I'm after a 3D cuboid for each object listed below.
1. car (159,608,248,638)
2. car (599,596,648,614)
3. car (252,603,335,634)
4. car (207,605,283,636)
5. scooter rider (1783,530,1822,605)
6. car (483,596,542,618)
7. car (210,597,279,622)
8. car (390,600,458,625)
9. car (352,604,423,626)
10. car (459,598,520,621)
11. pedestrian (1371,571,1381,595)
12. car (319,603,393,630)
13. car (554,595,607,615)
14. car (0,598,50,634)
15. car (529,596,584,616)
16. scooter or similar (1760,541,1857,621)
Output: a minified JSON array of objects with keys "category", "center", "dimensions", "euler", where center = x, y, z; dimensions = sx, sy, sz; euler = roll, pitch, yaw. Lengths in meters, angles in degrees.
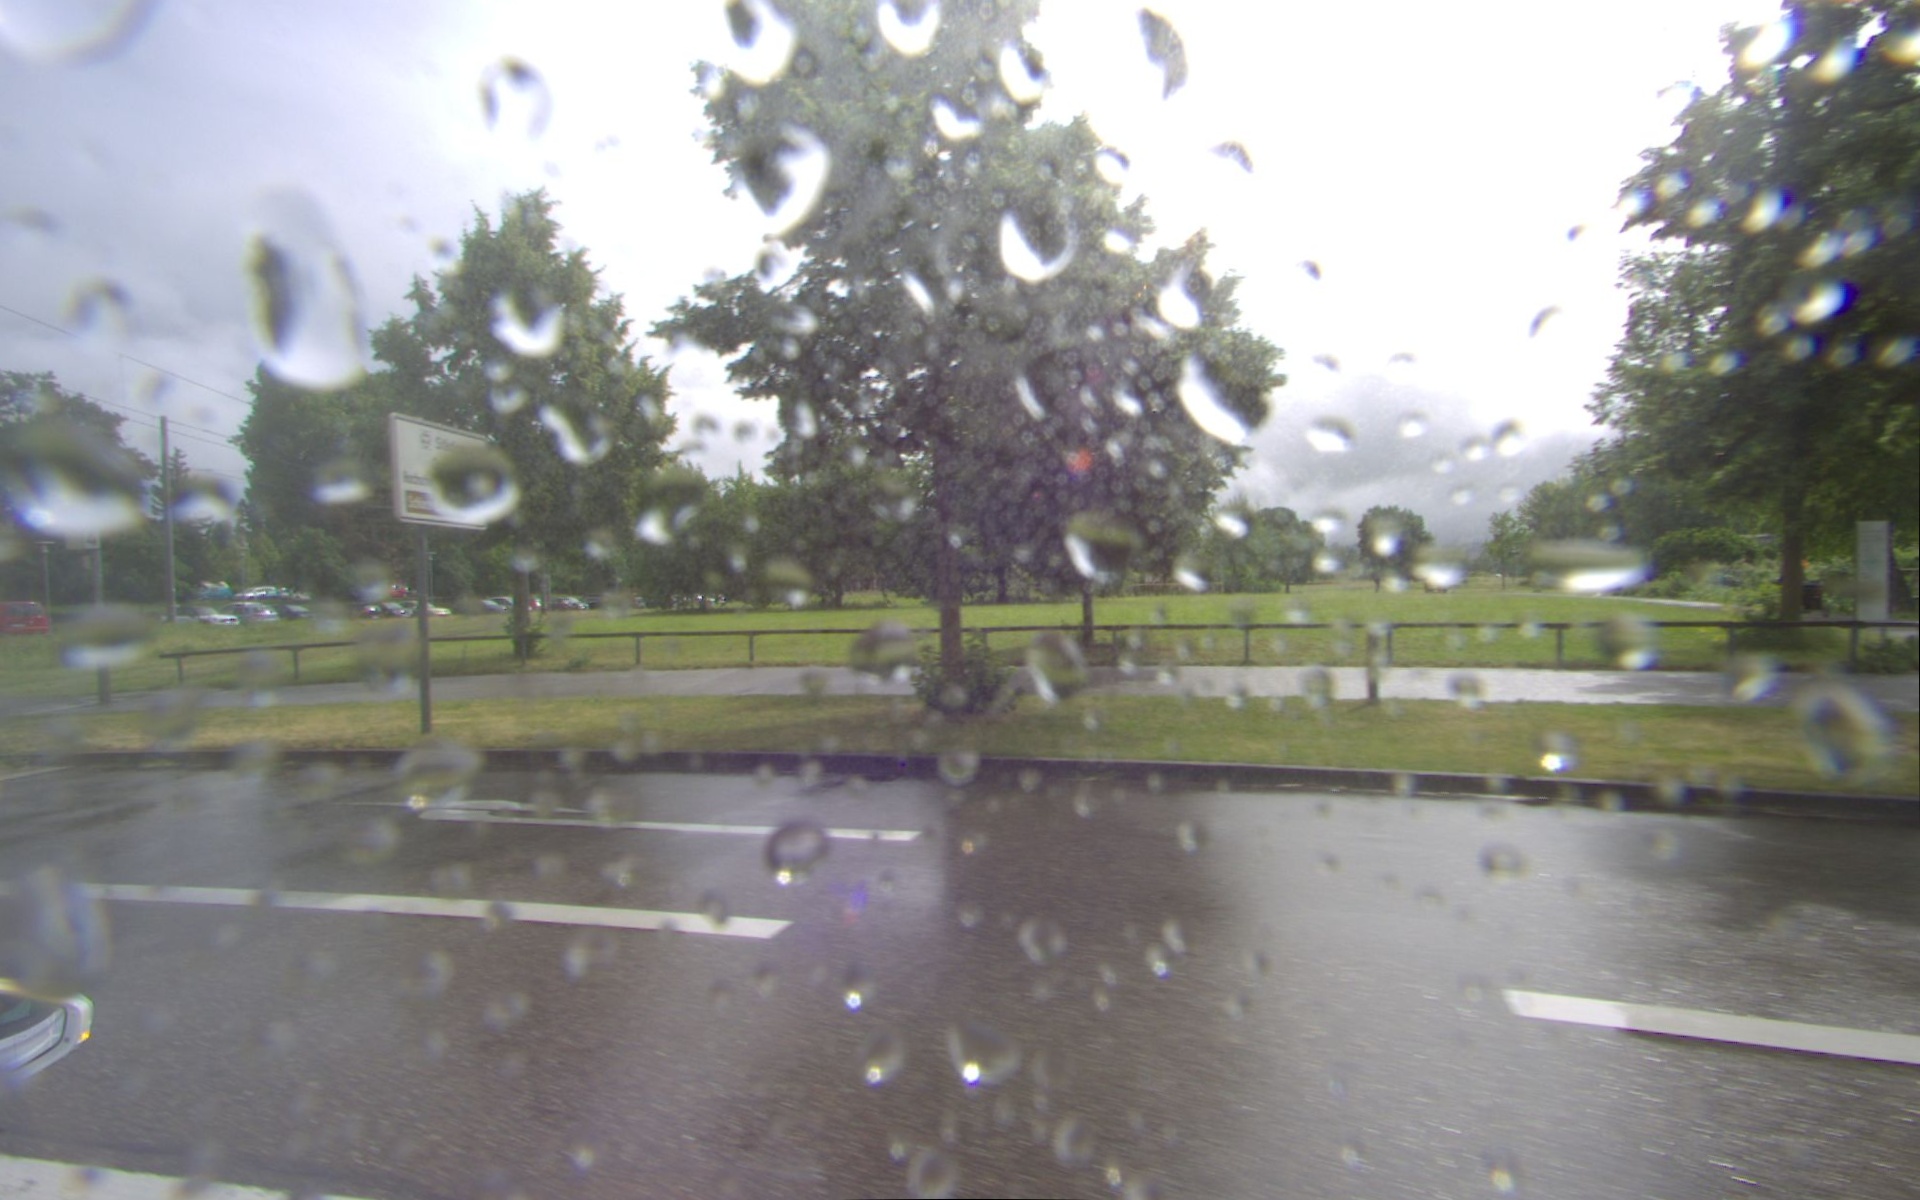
[{"category":"car","center":[-41.356,1.258,54.766],"dimensions":[3.926,1.548,1.796],"euler":[-1,1,15]},{"category":"car","center":[-31.360,0.464,93.270],"dimensions":[3.906,1.581,1.847],"euler":[-1,1,15]},{"category":"car","center":[-39.772,1.099,59.798],"dimensions":[3.927,1.738,1.997],"euler":[-1,1,16]},{"category":"car","center":[-40.690,1.164,57.033],"dimensions":[3.562,1.683,1.548],"euler":[-1,1,15]},{"category":"scooter rider","center":[23.419,-0.878,27.832],"dimensions":[0.696,2.040,0.767],"euler":[0,0,30]},{"category":"car","center":[-35.619,0.539,79.742],"dimensions":[3.906,1.581,1.847],"euler":[-1,1,15]},{"category":"car","center":[-49.883,0.658,69.802],"dimensions":[3.926,1.548,1.796],"euler":[-1,1,15]},{"category":"car","center":[-37.179,0.883,69.462],"dimensions":[3.906,1.581,1.847],"euler":[-1,1,15]},{"category":"car","center":[-38.242,1.000,66.881],"dimensions":[3.906,1.325,1.847],"euler":[-1,1,15]},{"category":"car","center":[-35.751,0.717,76.078],"dimensions":[3.906,1.581,1.847],"euler":[-1,1,15]},{"category":"pedestrian","center":[30.334,-1.228,73.041],"dimensions":[0.594,1.755,0.599],"euler":[0,0,12]},{"category":"car","center":[-38.716,1.033,64.190],"dimensions":[3.906,1.581,1.847],"euler":[-1,1,15]},{"category":"car","center":[-32.859,0.420,86.788],"dimensions":[3.906,1.581,1.847],"euler":[-1,1,15]},{"category":"car","center":[-43.342,0.712,45.340],"dimensions":[3.586,1.531,1.646],"euler":[-1,1,20]},{"category":"car","center":[-33.556,0.506,83.354],"dimensions":[3.906,1.581,1.847],"euler":[-1,1,15]},{"category":"scooter or similar","center":[23.131,-0.452,27.397],"dimensions":[1.220,2.040,3.397],"euler":[0,-1,26]}]
